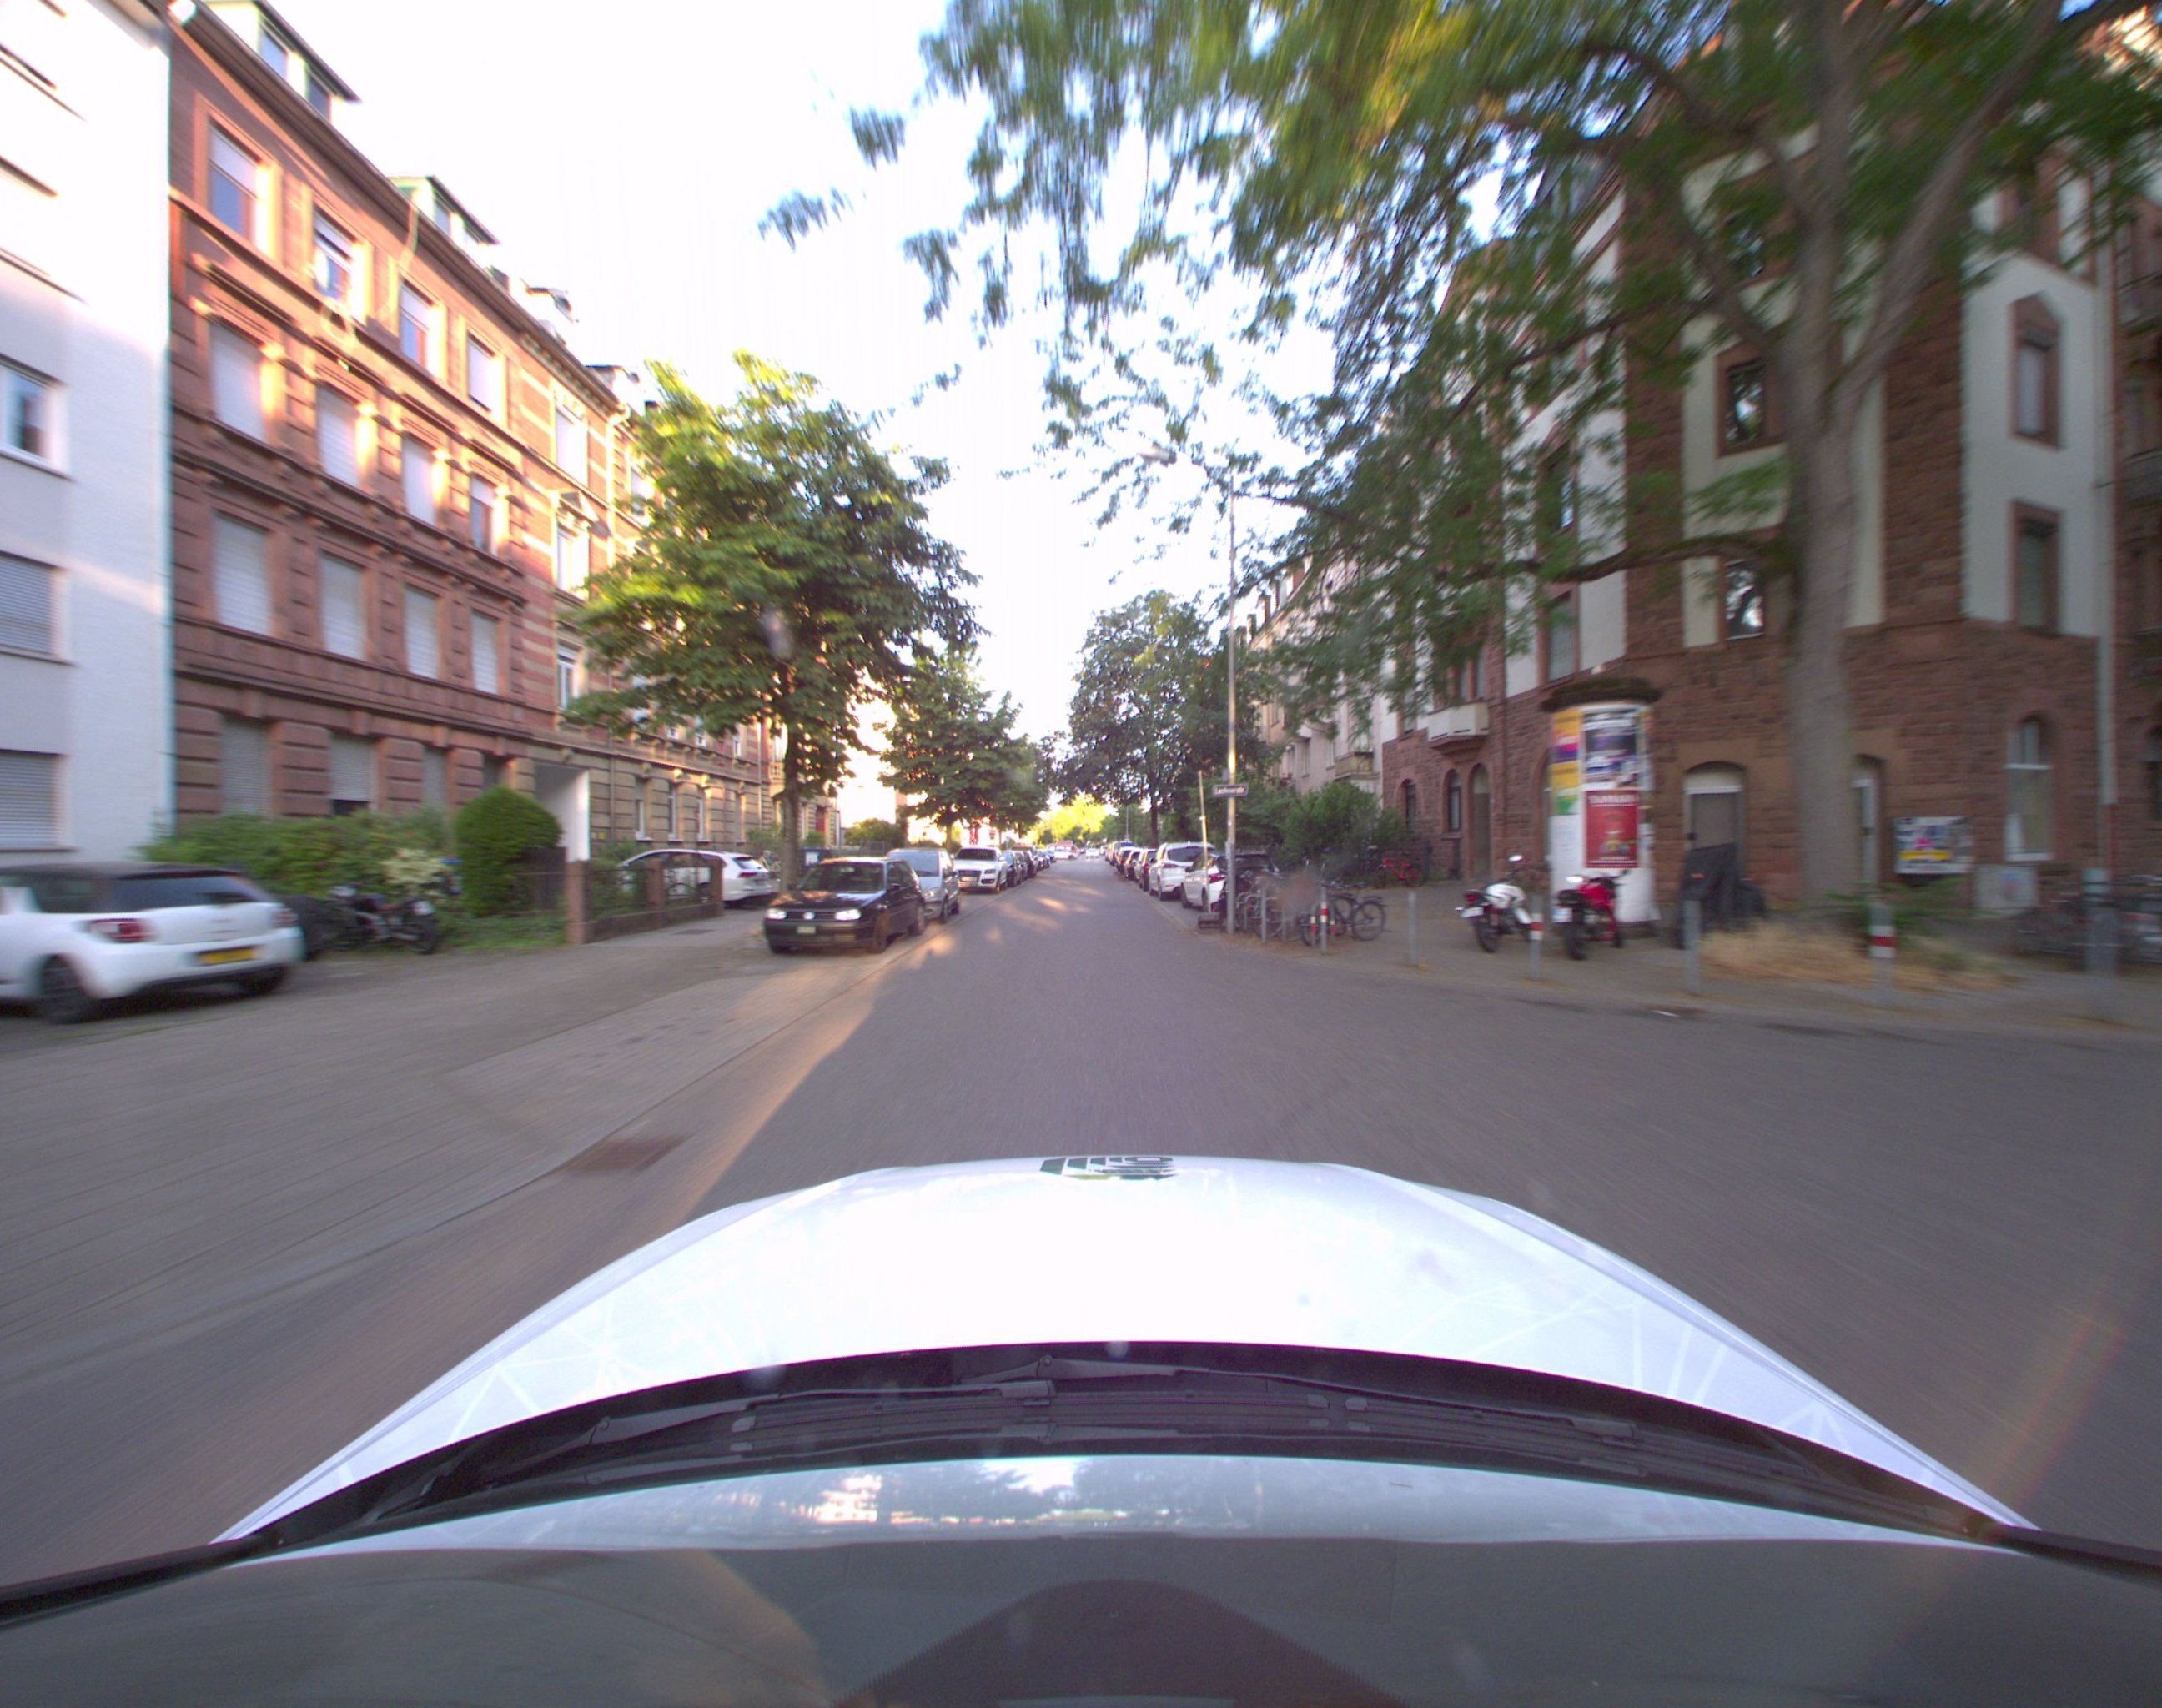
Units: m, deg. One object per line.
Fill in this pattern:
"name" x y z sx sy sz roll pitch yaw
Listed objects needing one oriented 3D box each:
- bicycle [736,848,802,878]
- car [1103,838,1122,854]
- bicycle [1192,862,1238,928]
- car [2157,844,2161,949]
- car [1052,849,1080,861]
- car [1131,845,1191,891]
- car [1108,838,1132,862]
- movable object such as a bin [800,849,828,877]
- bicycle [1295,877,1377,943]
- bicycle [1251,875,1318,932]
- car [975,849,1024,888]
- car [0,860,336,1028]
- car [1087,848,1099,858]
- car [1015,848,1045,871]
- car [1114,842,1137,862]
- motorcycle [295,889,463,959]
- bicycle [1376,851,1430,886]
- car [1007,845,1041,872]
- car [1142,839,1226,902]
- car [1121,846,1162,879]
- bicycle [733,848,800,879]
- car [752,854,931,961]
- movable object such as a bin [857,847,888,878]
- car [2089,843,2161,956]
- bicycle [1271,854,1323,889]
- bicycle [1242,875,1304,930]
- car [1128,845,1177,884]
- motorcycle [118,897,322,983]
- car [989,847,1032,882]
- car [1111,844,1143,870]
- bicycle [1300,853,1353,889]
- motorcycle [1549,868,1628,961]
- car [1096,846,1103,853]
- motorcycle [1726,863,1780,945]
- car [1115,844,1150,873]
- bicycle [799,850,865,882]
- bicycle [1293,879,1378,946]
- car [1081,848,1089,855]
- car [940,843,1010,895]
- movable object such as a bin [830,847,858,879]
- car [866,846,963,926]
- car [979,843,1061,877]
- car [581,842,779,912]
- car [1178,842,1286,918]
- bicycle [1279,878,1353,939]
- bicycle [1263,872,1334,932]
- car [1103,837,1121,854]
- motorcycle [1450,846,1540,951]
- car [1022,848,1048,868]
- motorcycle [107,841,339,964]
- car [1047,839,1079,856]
"bicycle" -13.350 0.392 34.936 2.529 1.192 0.641 2 1 -11
"car" 3.223 -0.776 83.352 1.682 1.606 3.937 0 0 -2
"bicycle" 2.598 0.762 15.687 0.439 1.173 1.646 0 0 25
"car" 17.400 0.627 10.446 1.824 1.553 3.978 -1 0 -16
"car" -1.986 0.126 108.148 3.611 1.461 1.605 0 1 -4
"car" 2.926 0.476 30.461 1.682 1.606 4.206 0 0 -2
"car" 3.243 -0.361 68.450 1.676 1.941 3.877 0 0 -2
"movable object such as a bin" -12.028 0.409 36.754 1.098 1.209 1.000 1 1 -14
"bicycle" 4.131 0.899 13.205 1.221 0.987 0.330 -2 2 -4
"bicycle" 3.721 0.895 14.854 1.229 0.947 0.328 -2 2 -22
"car" -3.454 0.593 35.163 1.710 1.566 3.781 0 0 0
"car" -10.278 0.824 8.506 3.542 1.447 1.822 0 1 9
"car" 1.898 -0.159 127.814 1.807 1.596 3.483 0 1 0
"car" -3.430 0.318 55.339 1.710 1.465 3.987 0 1 0
"car" 3.479 -0.174 64.610 1.534 1.521 3.429 0 0 -2
"motorcycle" -10.390 1.016 12.067 2.222 0.958 0.589 0 0 9
"bicycle" 9.905 0.445 25.059 1.505 1.034 0.330 -2 1 -2
"car" -3.497 0.264 50.508 1.710 1.596 4.519 0 0 0
"car" 3.020 0.445 24.748 1.793 1.711 4.597 -1 0 -2
"car" 2.929 0.392 39.997 1.681 1.441 4.209 -3 0 0
"bicycle" -13.259 0.406 34.422 2.529 1.192 0.641 2 1 -11
"car" -3.793 0.764 13.615 1.610 1.470 3.964 0 1 3
"movable object such as a bin" -9.357 0.367 36.563 1.008 1.321 1.006 2 1 5
"car" 15.247 0.604 9.898 1.679 1.477 3.414 0 0 -16
"bicycle" 6.740 0.549 25.401 1.505 1.034 0.330 -2 1 -2
"bicycle" 3.647 0.900 15.468 1.231 0.951 0.327 -2 2 -28
"car" 3.087 0.440 35.737 1.682 1.606 3.746 0 0 -2
"motorcycle" -10.694 1.044 10.130 2.222 0.958 0.589 0 0 9
"car" -3.376 0.471 39.618 1.710 1.566 3.788 0 1 0
"car" 2.933 0.161 52.566 1.682 1.606 3.937 0 0 -2
"bicycle" 7.498 0.528 24.842 1.505 1.034 0.330 -2 1 -2
"motorcycle" 7.103 0.784 11.349 2.226 1.079 0.432 -3 2 -45
"car" 4.724 -1.147 207.469 1.710 1.596 3.483 0 1 0
"motorcycle" 10.379 0.725 12.560 2.123 1.079 0.432 -3 2 -45
"car" 2.986 0.240 48.086 1.682 1.606 3.937 0 0 -2
"bicycle" -10.428 0.494 34.114 2.516 1.192 0.645 2 1 6
"bicycle" 4.007 0.920 12.841 1.221 0.987 0.330 -2 1 -2
"car" 0.972 -0.602 191.670 1.710 1.596 3.483 0 1 0
"car" -3.749 0.475 29.577 1.915 1.717 4.428 0 1 0
"movable object such as a bin" -10.593 0.395 36.394 1.098 1.414 1.000 1 1 -14
"car" -3.663 0.641 18.499 1.592 1.603 3.740 0 1 -3
"car" -3.223 0.298 43.493 4.188 1.790 1.721 0 1 0
"car" -10.033 0.559 20.618 4.081 1.527 1.708 2 0 -1
"car" 3.438 0.530 19.169 1.683 1.592 3.654 -1 1 -4
"bicycle" 3.972 0.908 13.761 1.227 0.963 0.328 -2 2 -17
"bicycle" 3.784 0.827 14.152 1.229 0.957 0.328 -2 2 -22
"car" 3.327 -0.918 89.020 1.682 1.811 3.937 0 0 -2
"motorcycle" 6.282 0.608 12.287 0.578 1.408 2.226 0 2 44
"car" -3.382 0.278 60.514 1.710 1.441 3.631 0 1 0
"motorcycle" -11.904 0.653 11.320 2.836 1.638 0.676 -1 0 8
"car" -2.434 -0.881 110.731 4.337 2.318 1.745 0 1 -2
